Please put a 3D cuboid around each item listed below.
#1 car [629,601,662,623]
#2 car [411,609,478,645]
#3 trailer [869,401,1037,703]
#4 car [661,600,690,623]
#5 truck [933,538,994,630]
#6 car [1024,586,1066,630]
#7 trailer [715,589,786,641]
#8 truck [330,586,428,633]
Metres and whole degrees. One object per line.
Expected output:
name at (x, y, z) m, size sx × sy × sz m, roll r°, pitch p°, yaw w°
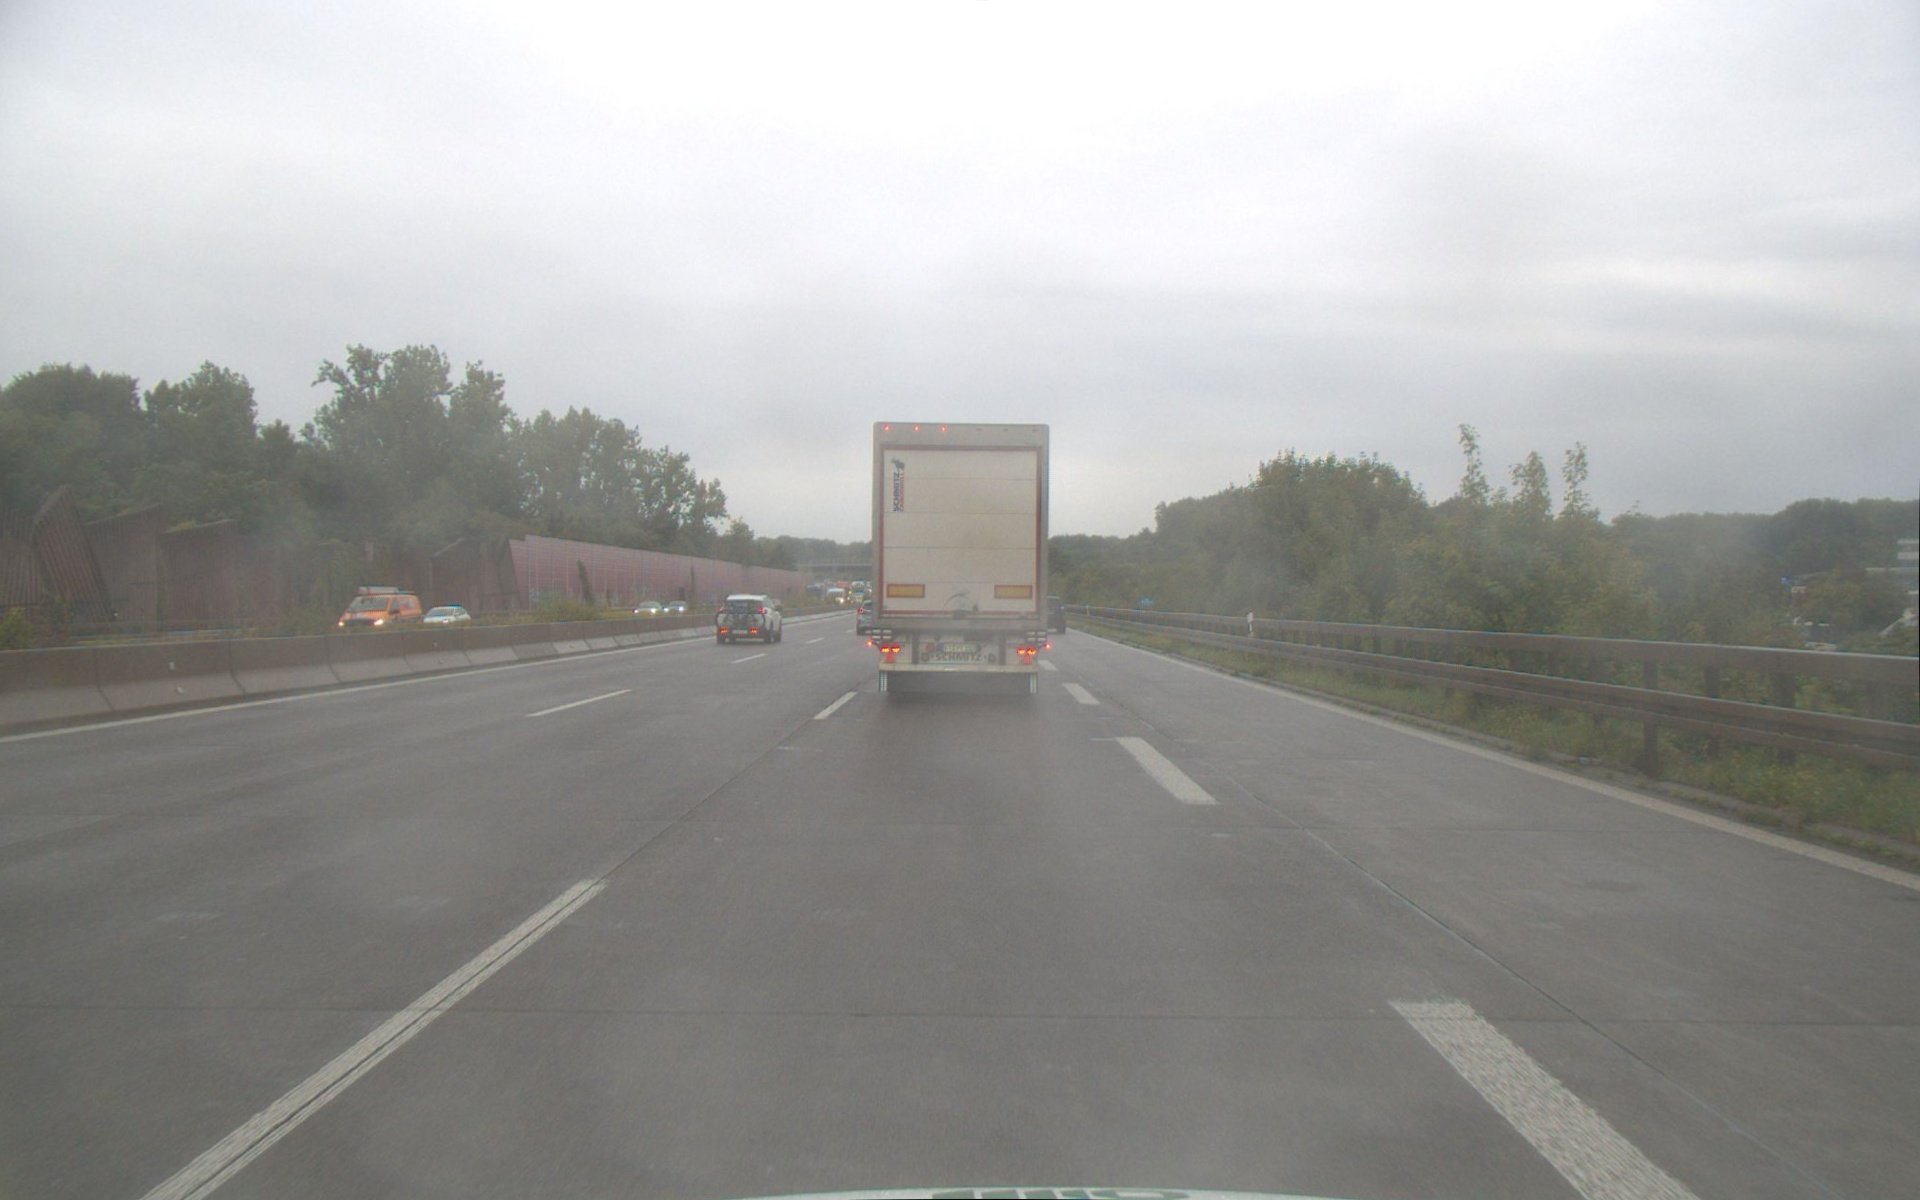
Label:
car at (-26.048, 0.993, 137.075) m, size 1.953 × 1.816 × 4.290 m, roll 1°, pitch 0°, yaw -1°
car at (-26.348, 1.373, 84.705) m, size 1.952 × 1.770 × 4.398 m, roll 0°, pitch 0°, yaw 1°
trailer at (-0.056, -0.741, 30.836) m, size 2.294 × 4.230 × 14.827 m, roll 1°, pitch 0°, yaw 0°
car at (-26.243, 1.063, 152.595) m, size 1.952 × 2.049 × 4.000 m, roll 0°, pitch 0°, yaw 1°
truck at (0.219, -0.958, 101.828) m, size 3.461 × 5.273 × 9.893 m, roll 1°, pitch 0°, yaw 0°
car at (3.979, 0.381, 78.142) m, size 1.858 × 1.983 × 4.001 m, roll 1°, pitch 0°, yaw 2°
trailer at (-7.027, 0.465, 55.756) m, size 1.778 × 1.653 × 4.568 m, roll 0°, pitch 0°, yaw 0°
truck at (-22.567, 0.351, 64.447) m, size 1.952 × 1.770 × 5.016 m, roll 0°, pitch 0°, yaw 1°
